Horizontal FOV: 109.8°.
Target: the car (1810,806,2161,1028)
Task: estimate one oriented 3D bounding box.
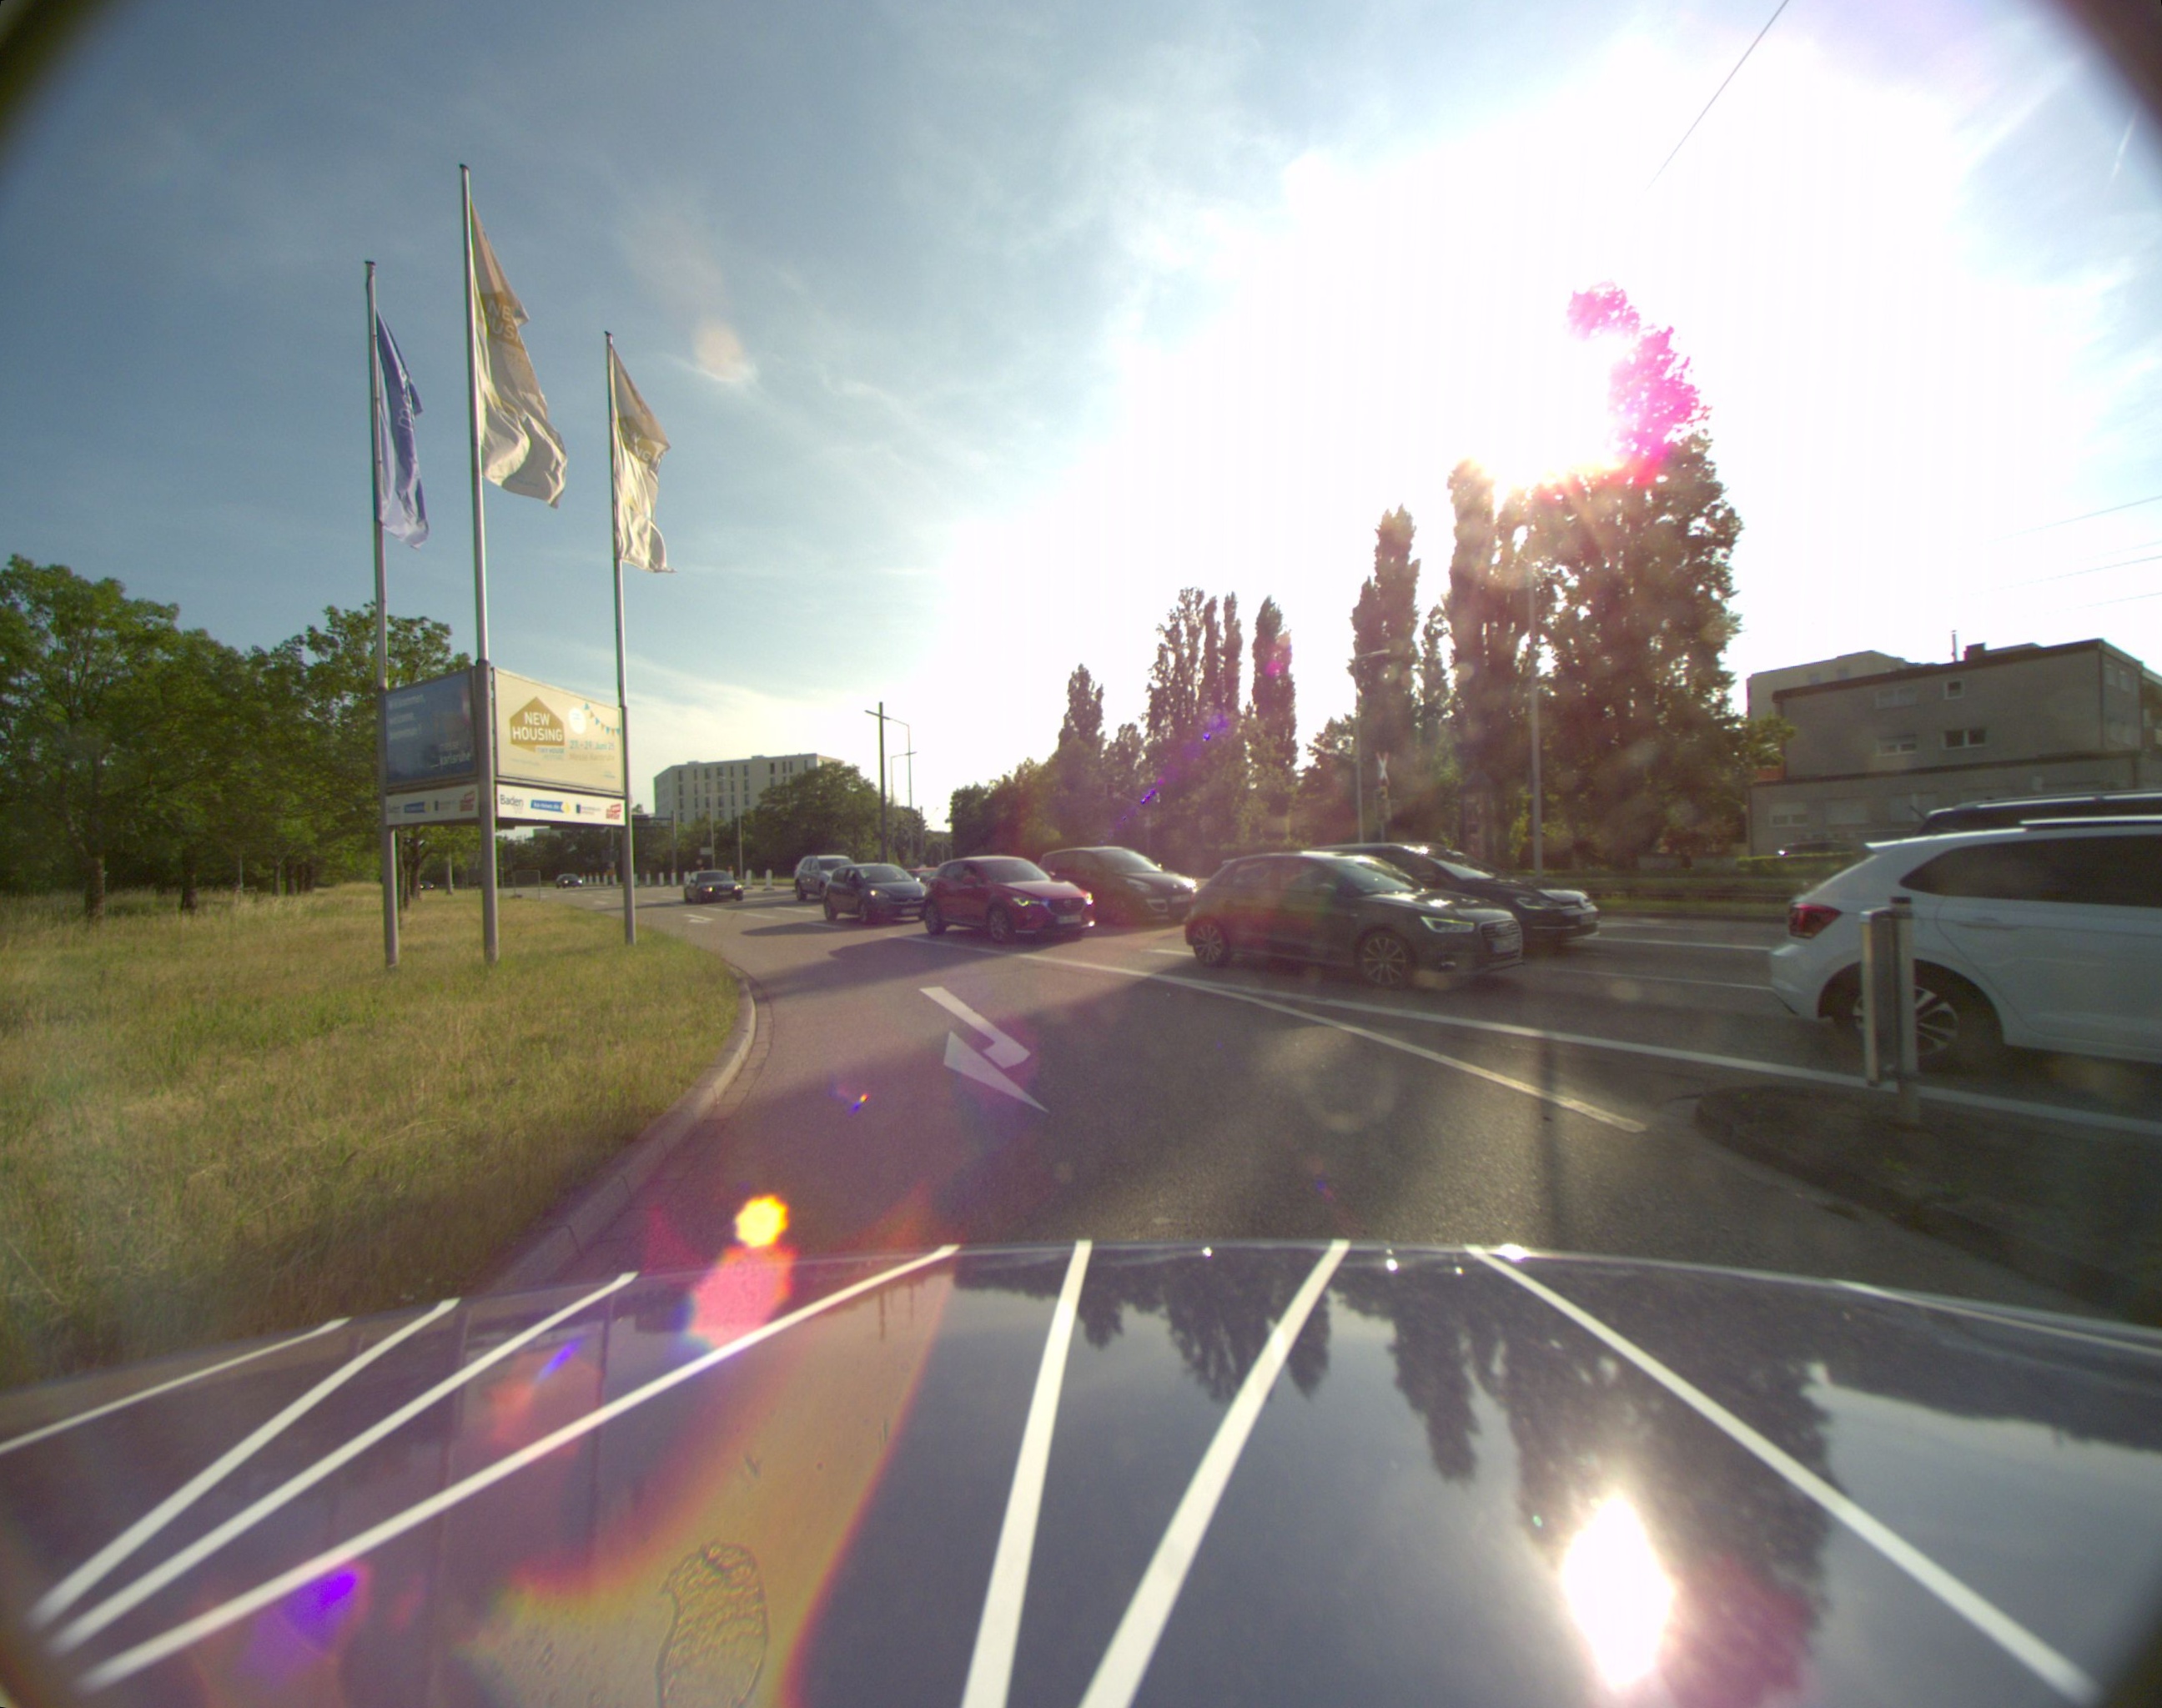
[{"bbox_3d":[8.861,0.445,5.653,1.514,1.641,4.732,-2,0,-35],"label":"car"}]

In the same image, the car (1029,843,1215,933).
[{"bbox_3d":[0.761,0.680,16.565,1.772,1.661,4.073,-3,1,-37],"label":"car"}]

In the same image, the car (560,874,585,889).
[{"bbox_3d":[-53.979,2.887,80.669,1.899,1.447,3.899,-2,0,-38],"label":"car"}]

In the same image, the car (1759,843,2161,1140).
[{"bbox_3d":[6.246,0.658,3.779,1.664,1.435,4.004,-2,0,-36],"label":"car"}]

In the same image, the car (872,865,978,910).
[{"bbox_3d":[-4.962,1.000,23.801,1.739,1.200,3.837,-4,1,-37],"label":"car"}]

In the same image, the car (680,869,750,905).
[{"bbox_3d":[-16.367,1.418,33.864,1.905,1.377,4.344,-4,1,-38],"label":"car"}]

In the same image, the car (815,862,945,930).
[{"bbox_3d":[-5.302,1.019,19.648,1.750,1.496,4.212,-2,0,-37],"label":"car"}]

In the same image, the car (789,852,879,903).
[{"bbox_3d":[-10.007,0.913,30.576,1.906,1.813,4.344,-4,2,-39],"label":"car"}]

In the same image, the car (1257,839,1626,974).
[{"bbox_3d":[4.898,0.636,11.013,1.708,1.499,4.542,-3,1,-35],"label":"car"}]

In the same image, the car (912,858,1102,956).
[{"bbox_3d":[-1.531,0.903,14.407,1.715,1.542,3.967,-2,0,-38],"label":"car"}]

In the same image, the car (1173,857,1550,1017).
[{"bbox_3d":[2.982,0.775,8.805,1.650,1.389,3.817,-2,0,-35],"label":"car"}]
